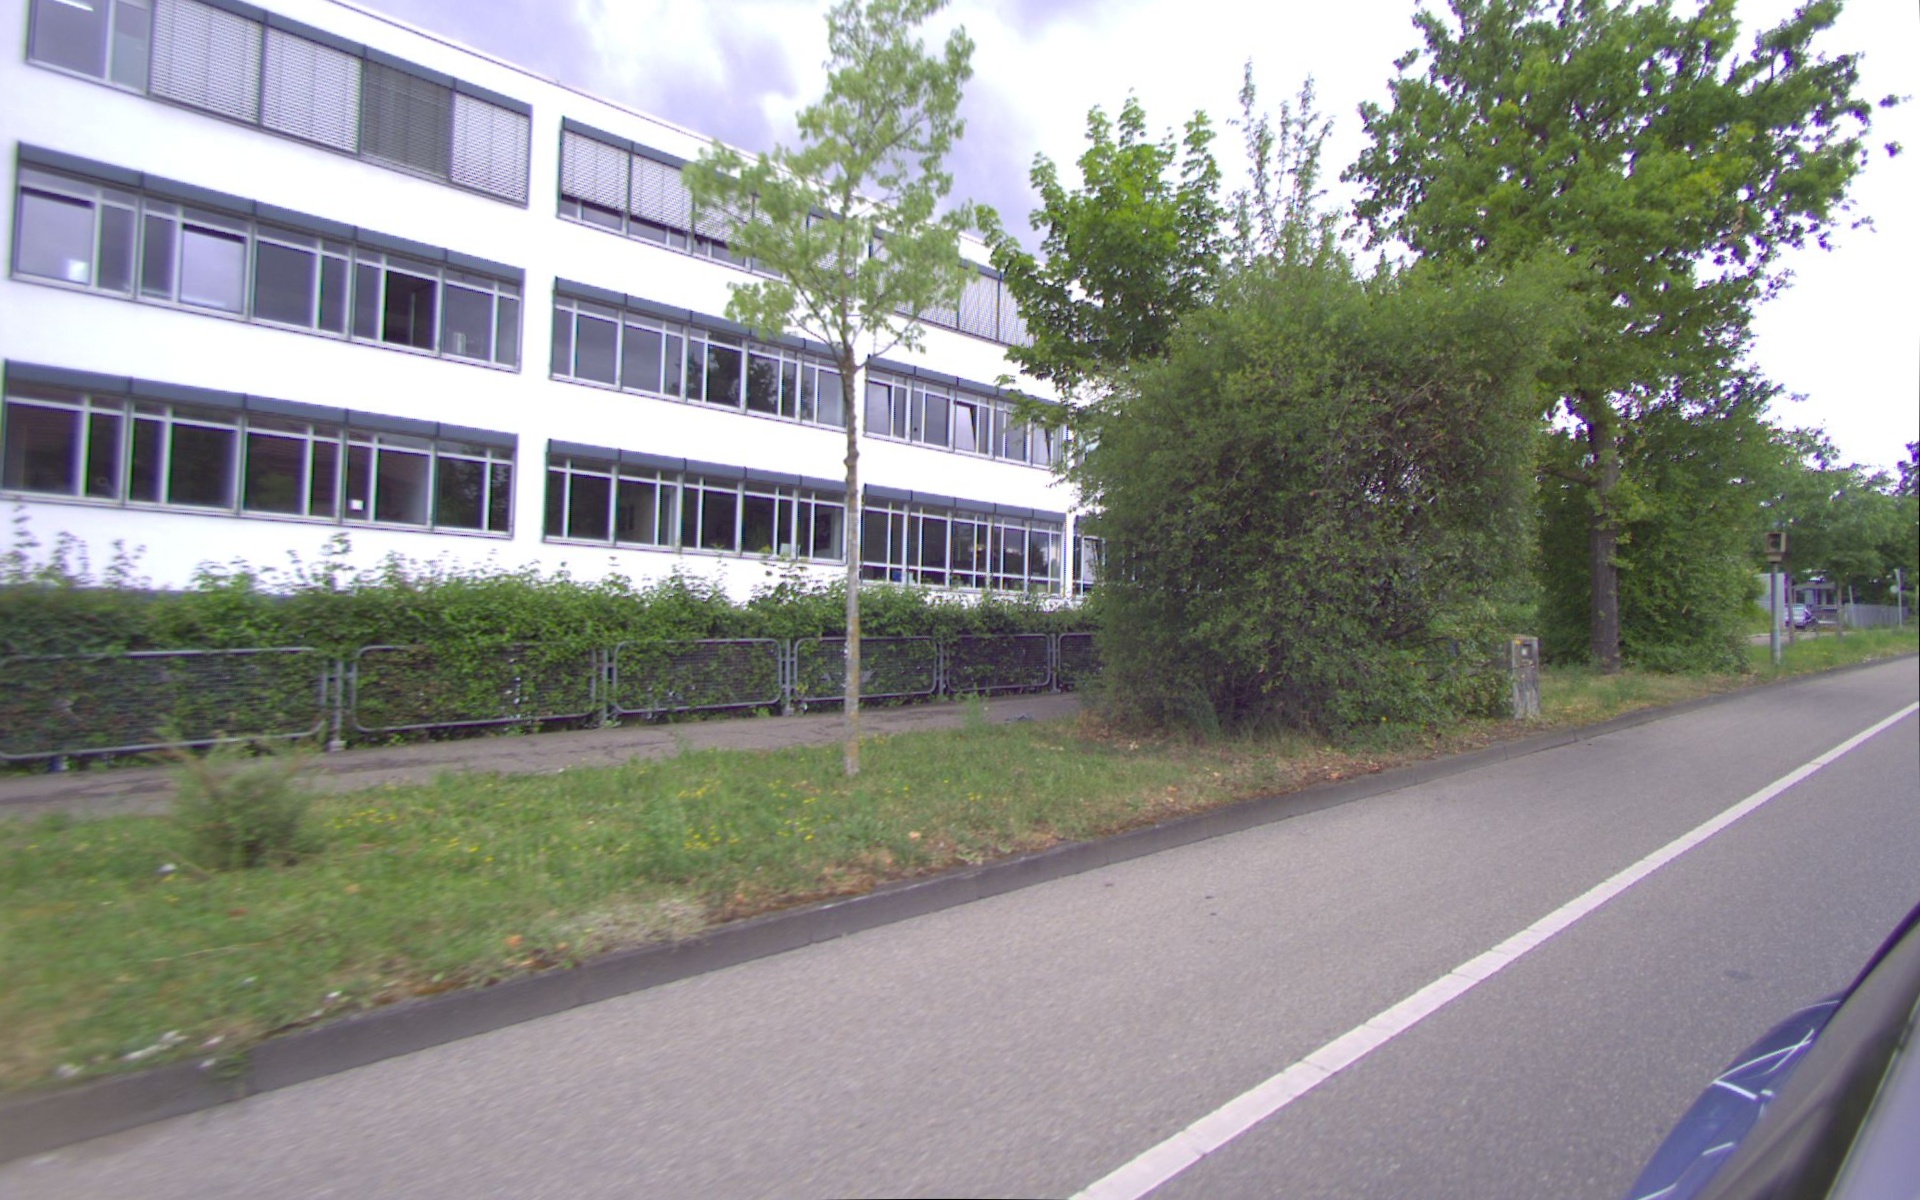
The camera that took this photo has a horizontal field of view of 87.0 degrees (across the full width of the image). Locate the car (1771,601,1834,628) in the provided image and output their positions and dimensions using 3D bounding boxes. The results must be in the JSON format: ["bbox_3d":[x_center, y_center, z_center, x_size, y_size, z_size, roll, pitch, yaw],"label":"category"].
[{"bbox_3d":[47.519,0.811,57.041,4.891,1.435,1.850,1,-2,-40],"label":"car"}]

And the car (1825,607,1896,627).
[{"bbox_3d":[75.442,1.434,84.830,1.786,1.467,4.183,2,-4,-41],"label":"car"}]
